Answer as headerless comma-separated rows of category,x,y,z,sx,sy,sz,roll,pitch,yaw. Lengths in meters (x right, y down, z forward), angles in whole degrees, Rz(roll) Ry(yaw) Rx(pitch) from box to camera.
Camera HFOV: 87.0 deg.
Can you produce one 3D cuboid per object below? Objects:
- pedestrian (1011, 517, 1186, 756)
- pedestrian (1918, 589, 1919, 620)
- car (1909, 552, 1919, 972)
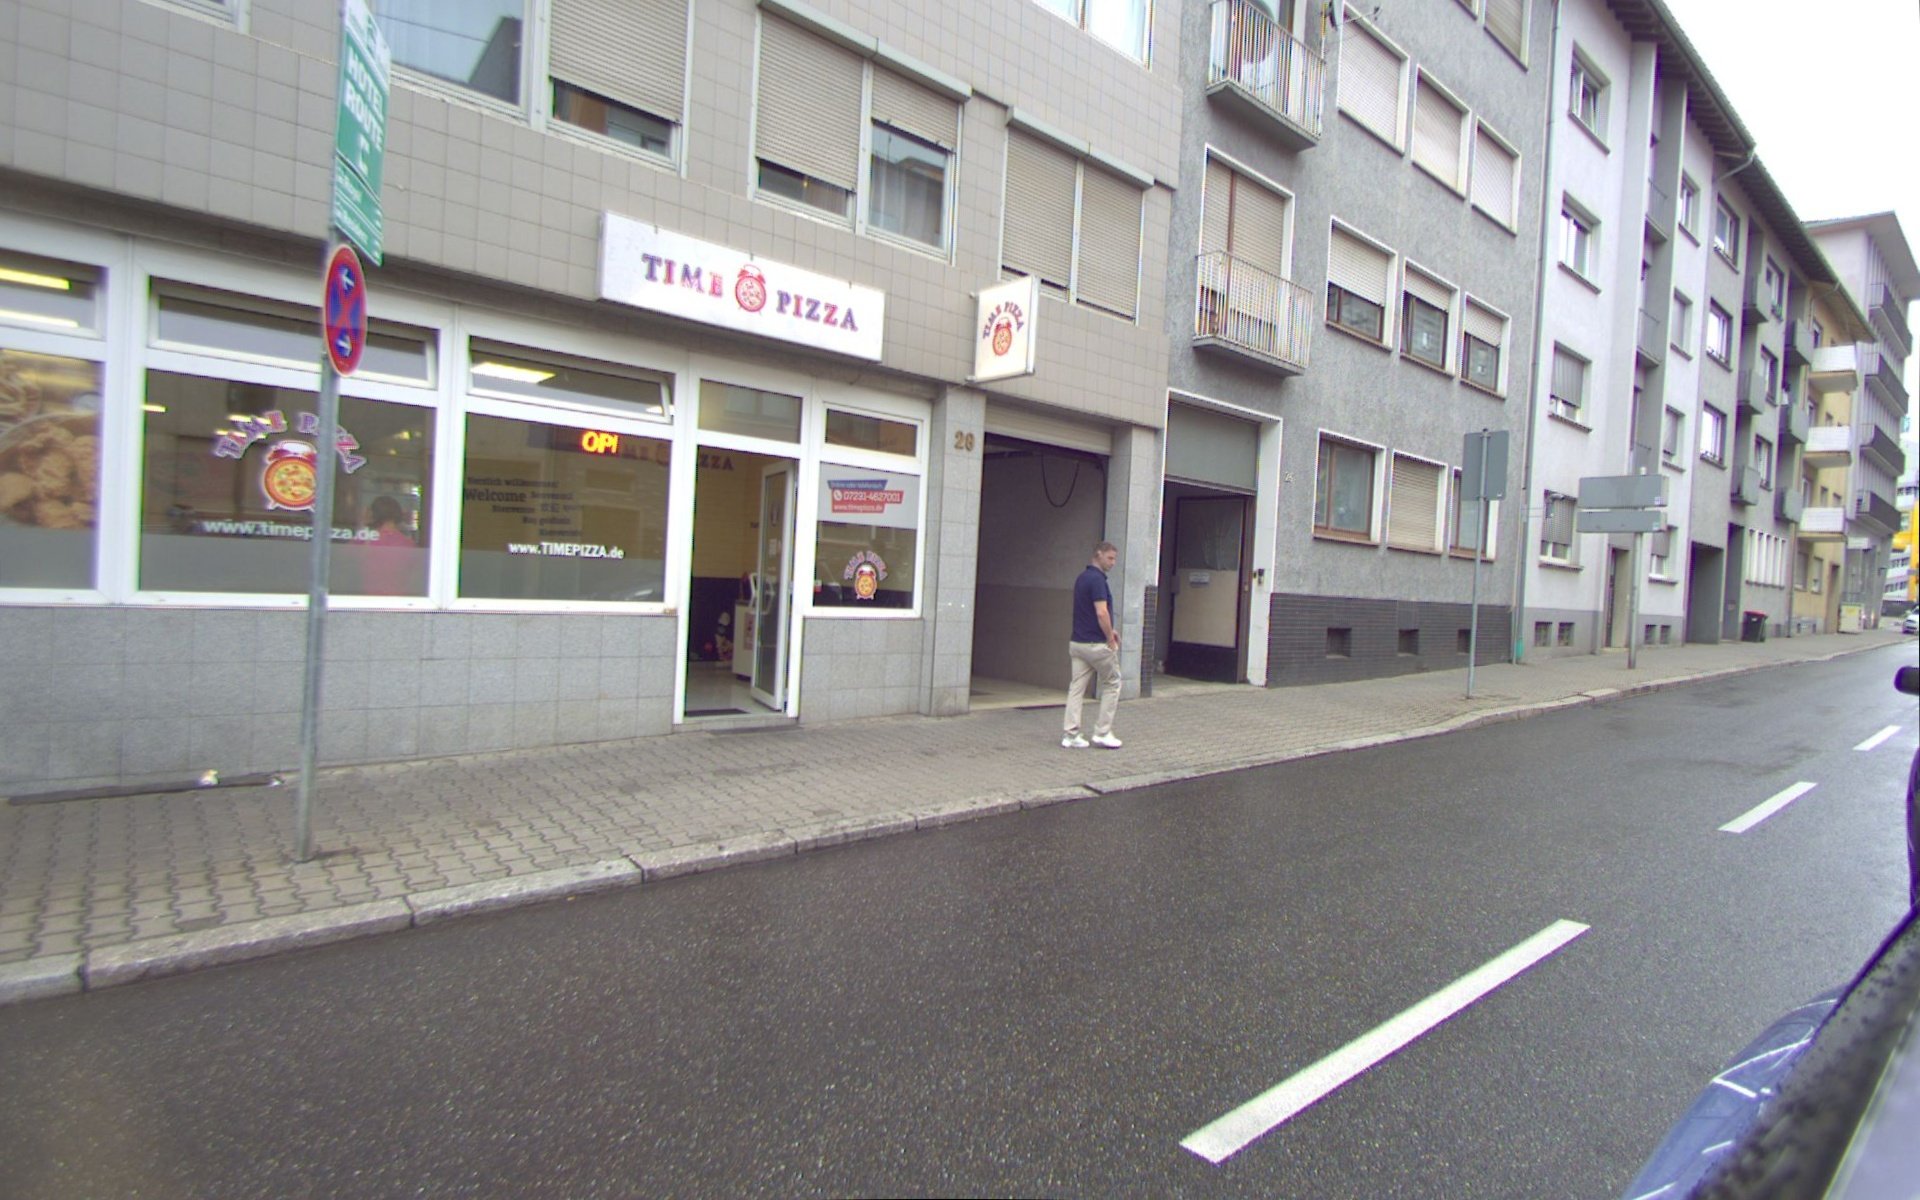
pedestrian,1.205,0.271,8.812,1.100,1.887,0.871,0,7,-41
pedestrian,55.903,0.264,58.195,1.117,1.772,0.946,4,3,44
car,6.075,0.655,4.932,4.144,1.743,1.697,-1,0,-41
